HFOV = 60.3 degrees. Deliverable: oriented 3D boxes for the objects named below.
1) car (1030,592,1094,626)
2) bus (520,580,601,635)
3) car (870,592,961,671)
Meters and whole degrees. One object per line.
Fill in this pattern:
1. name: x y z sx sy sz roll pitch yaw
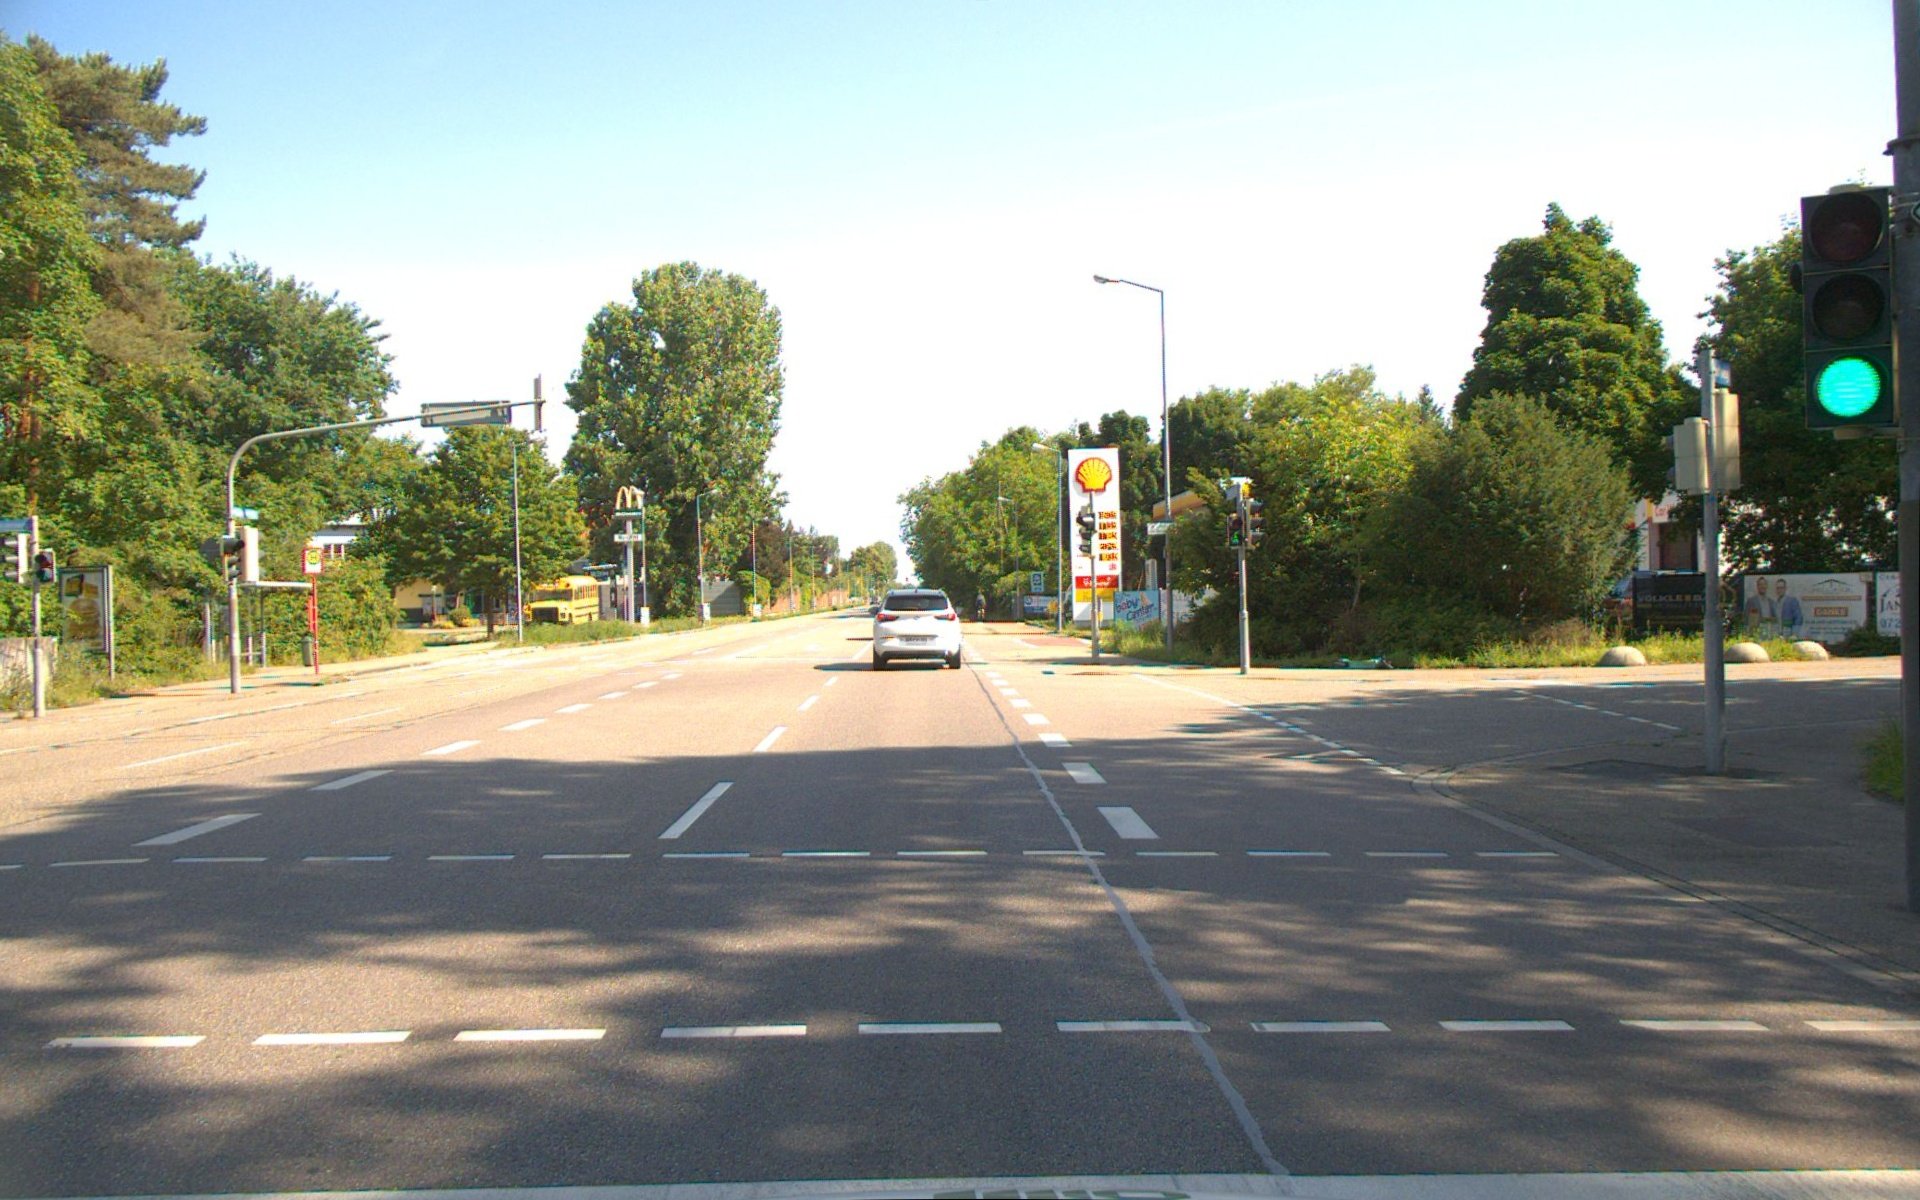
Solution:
1. car: 4.848 0.428 78.870 2.683 1.557 1.568 -1 -2 43
2. bus: -20.861 0.410 86.888 2.528 2.726 8.991 0 0 -3
3. car: -0.920 0.642 34.898 1.809 1.568 4.223 0 0 -1
